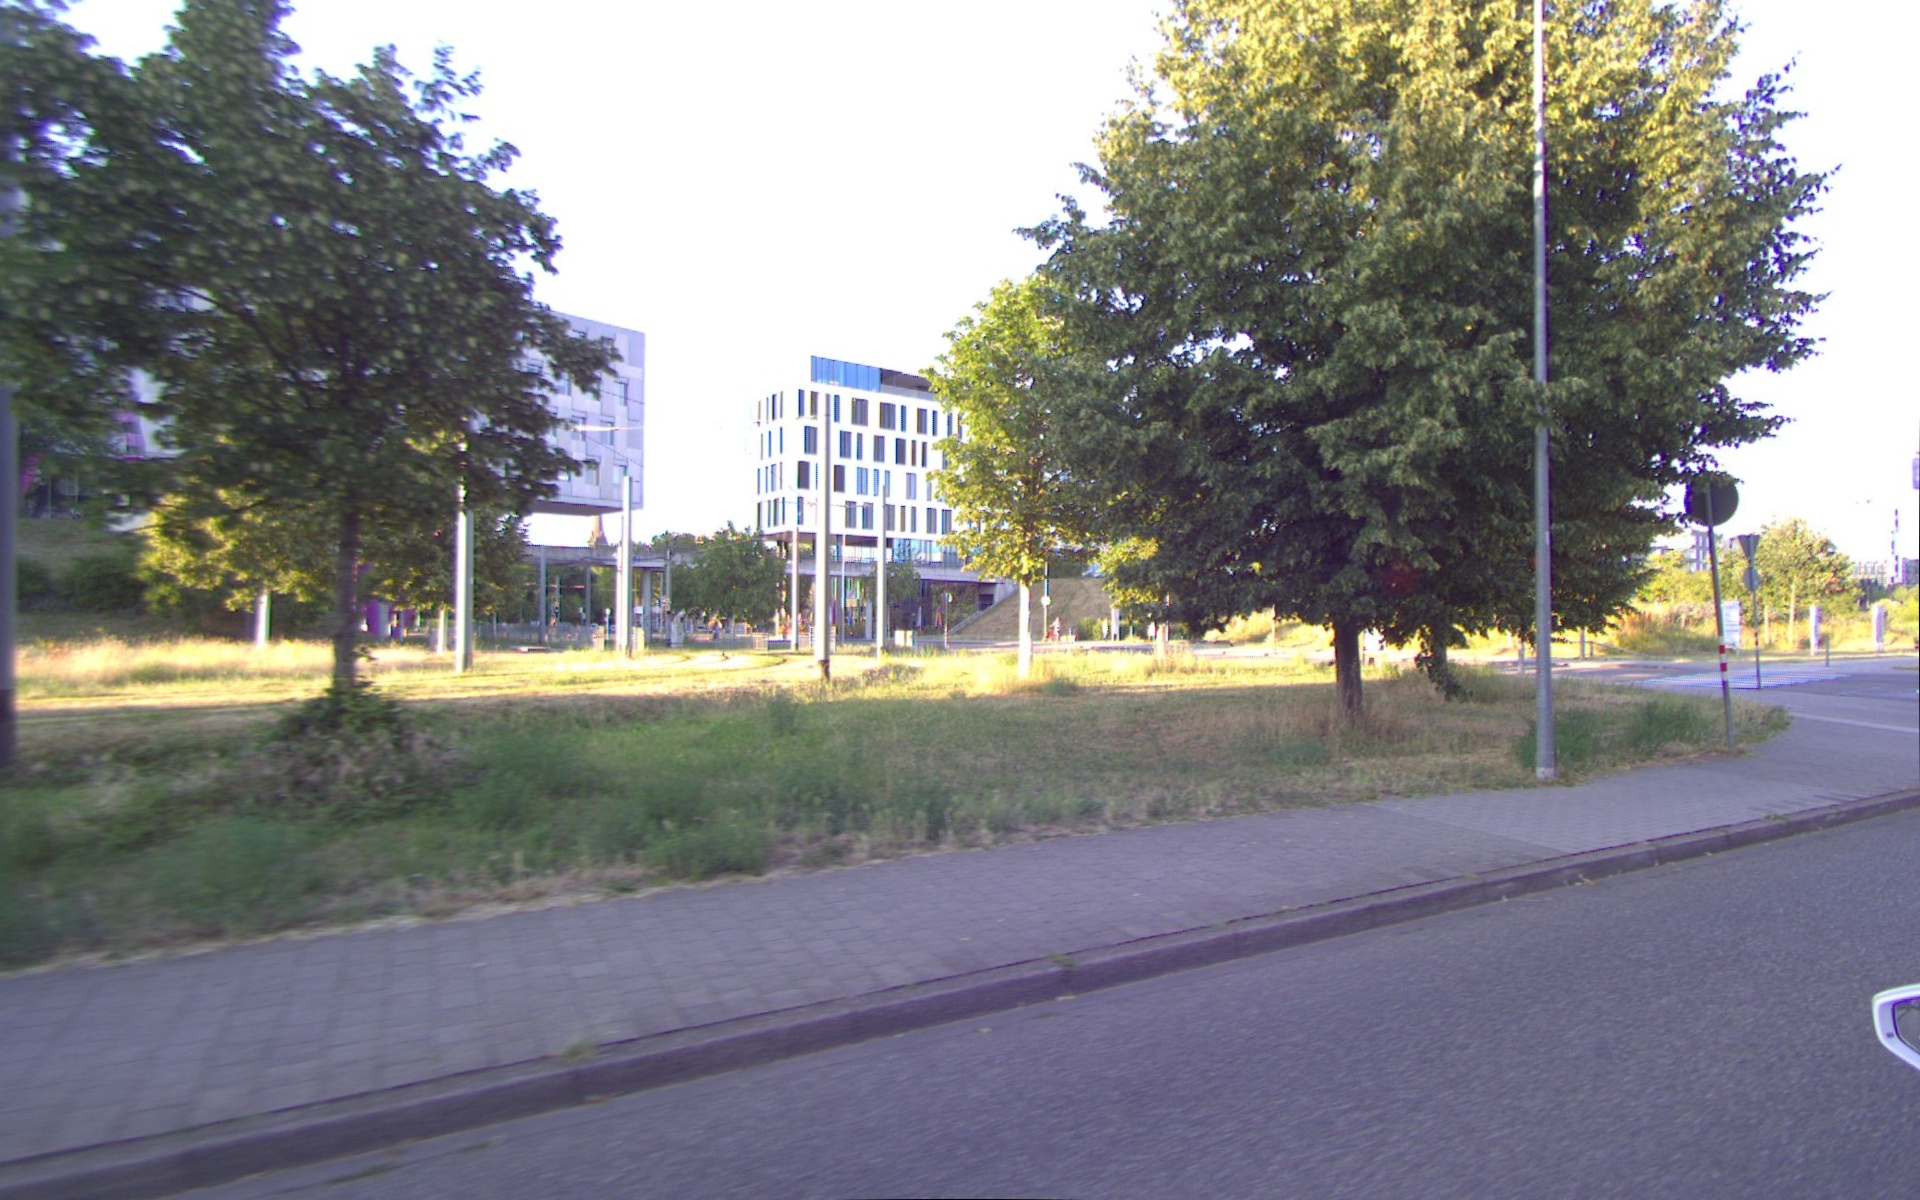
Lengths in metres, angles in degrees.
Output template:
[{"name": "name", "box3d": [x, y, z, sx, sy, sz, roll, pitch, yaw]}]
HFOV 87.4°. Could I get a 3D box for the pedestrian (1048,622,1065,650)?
[{"name": "pedestrian", "box3d": [6.283, 2.362, 65.627, 0.803, 1.810, 0.784, 1, -1, -27]}]
